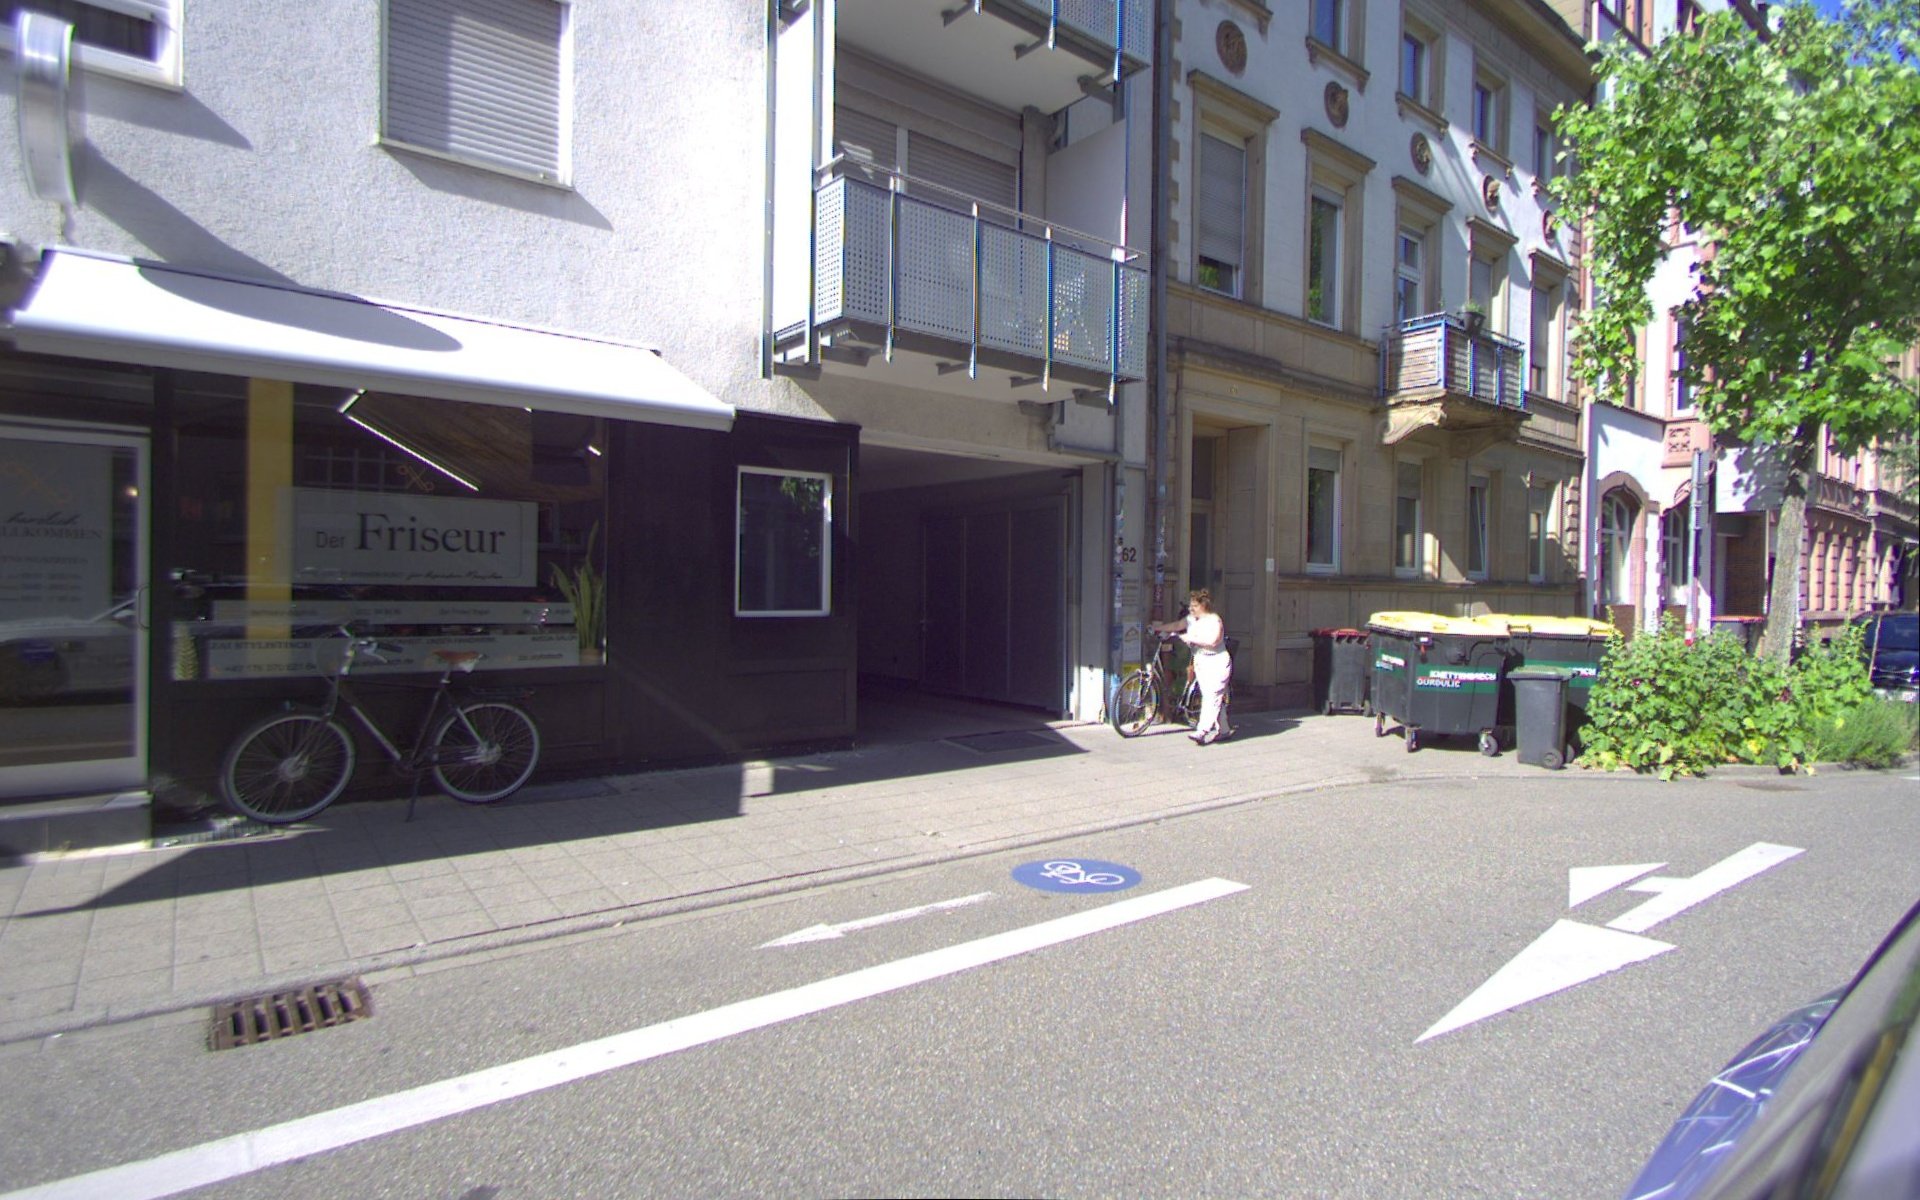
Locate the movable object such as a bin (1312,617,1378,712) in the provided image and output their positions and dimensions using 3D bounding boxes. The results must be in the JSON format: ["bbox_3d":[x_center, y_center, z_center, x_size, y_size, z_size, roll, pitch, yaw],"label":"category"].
[{"bbox_3d":[4.734,0.780,12.474,0.557,1.094,0.616,1,3,4],"label":"movable object such as a bin"}]

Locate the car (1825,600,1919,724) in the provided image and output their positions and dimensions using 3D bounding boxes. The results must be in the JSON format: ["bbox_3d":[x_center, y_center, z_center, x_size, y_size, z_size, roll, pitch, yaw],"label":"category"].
[{"bbox_3d":[13.106,0.776,13.684,3.291,1.510,1.551,0,1,-39],"label":"car"}]

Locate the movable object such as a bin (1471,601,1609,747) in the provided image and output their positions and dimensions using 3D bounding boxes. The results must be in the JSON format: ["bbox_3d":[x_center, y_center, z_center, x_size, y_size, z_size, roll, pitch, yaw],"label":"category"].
[{"bbox_3d":[6.085,0.736,10.689,0.944,1.364,1.065,2,3,14],"label":"movable object such as a bin"}]

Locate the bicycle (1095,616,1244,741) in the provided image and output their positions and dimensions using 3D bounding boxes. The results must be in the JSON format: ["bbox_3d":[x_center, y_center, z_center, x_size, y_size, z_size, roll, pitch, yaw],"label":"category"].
[{"bbox_3d":[2.145,0.752,10.237,1.759,1.146,0.402,0,2,-38],"label":"bicycle"}]

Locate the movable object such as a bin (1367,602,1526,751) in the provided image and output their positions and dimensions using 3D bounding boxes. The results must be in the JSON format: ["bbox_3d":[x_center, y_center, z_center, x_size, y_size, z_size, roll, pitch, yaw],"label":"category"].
[{"bbox_3d":[4.955,0.742,10.417,1.031,1.341,1.215,1,3,4],"label":"movable object such as a bin"}]

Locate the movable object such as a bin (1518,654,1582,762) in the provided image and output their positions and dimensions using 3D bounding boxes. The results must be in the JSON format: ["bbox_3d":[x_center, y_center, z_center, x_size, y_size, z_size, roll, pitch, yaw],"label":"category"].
[{"bbox_3d":[5.652,1.019,9.694,0.400,0.933,0.477,4,4,44],"label":"movable object such as a bin"}]

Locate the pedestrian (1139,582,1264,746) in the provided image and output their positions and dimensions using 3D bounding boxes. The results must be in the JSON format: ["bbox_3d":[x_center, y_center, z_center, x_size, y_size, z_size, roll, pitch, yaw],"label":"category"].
[{"bbox_3d":[2.444,0.608,10.249,0.929,1.557,0.825,0,0,-38],"label":"pedestrian"}]

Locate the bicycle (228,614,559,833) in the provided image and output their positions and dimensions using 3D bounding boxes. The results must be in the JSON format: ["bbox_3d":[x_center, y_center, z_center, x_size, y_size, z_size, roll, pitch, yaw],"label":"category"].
[{"bbox_3d":[-3.476,0.699,6.325,1.759,1.193,0.402,0,0,-38],"label":"bicycle"}]
